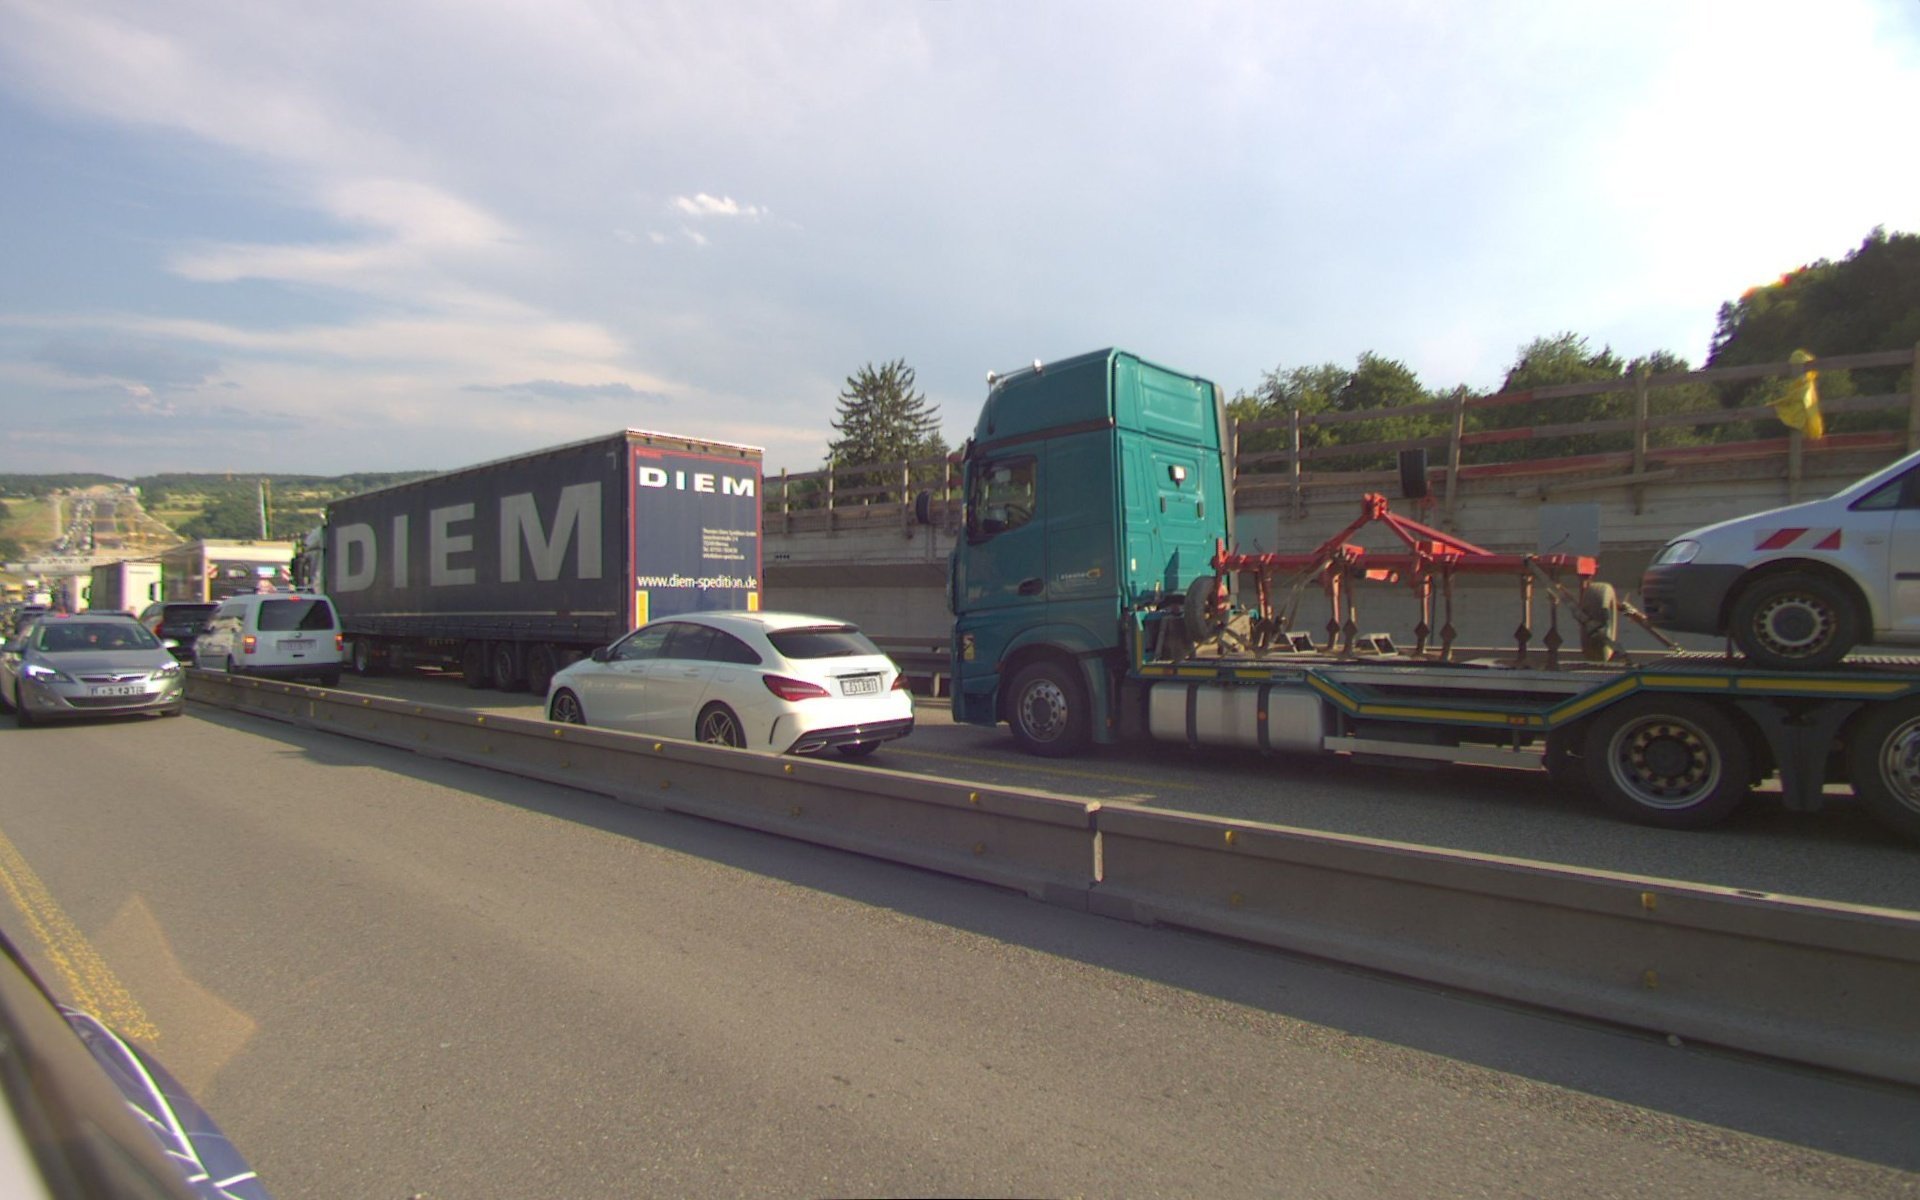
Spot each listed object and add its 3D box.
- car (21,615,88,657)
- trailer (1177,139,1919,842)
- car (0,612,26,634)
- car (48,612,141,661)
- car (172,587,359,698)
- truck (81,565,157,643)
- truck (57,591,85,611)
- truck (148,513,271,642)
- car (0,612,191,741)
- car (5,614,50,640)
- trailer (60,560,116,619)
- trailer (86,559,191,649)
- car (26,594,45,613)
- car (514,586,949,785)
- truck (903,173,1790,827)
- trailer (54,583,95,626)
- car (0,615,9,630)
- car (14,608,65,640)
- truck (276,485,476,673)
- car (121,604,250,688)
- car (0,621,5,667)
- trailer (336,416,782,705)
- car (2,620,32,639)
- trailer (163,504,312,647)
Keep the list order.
[{"bbox_3d":[-41.519,1.615,46.368,4.747,1.598,1.842,1,4,44],"label":"car"},{"bbox_3d":[8.752,-0.610,4.270,16.037,3.845,2.720,-1,-2,41],"label":"trailer"},{"bbox_3d":[-78.415,1.866,83.289,4.977,1.667,1.985,0,2,45],"label":"car"},{"bbox_3d":[-31.424,1.290,36.701,5.367,1.618,1.856,0,-2,42],"label":"car"},{"bbox_3d":[-13.941,0.779,20.181,5.128,1.948,1.804,0,-3,41],"label":"car"},{"bbox_3d":[-48.452,0.211,58.269,6.117,4.235,2.733,0,-1,44],"label":"truck"},{"bbox_3d":[-145.501,0.177,165.663,3.196,3.169,6.495,1,0,-44],"label":"truck"},{"bbox_3d":[-28.503,-0.791,38.387,5.028,4.548,2.888,0,0,43],"label":"truck"},{"bbox_3d":[-12.430,0.947,14.292,4.118,1.498,1.786,0,1,42],"label":"car"},{"bbox_3d":[-59.404,1.696,64.448,4.816,1.467,1.755,1,2,44],"label":"car"},{"bbox_3d":[-69.075,-0.754,80.015,2.427,4.352,13.785,1,0,-44],"label":"trailer"},{"bbox_3d":[-43.851,0.209,53.776,13.838,4.235,2.745,0,0,44],"label":"trailer"},{"bbox_3d":[-137.497,0.541,150.537,1.972,2.636,5.619,1,-1,-43],"label":"car"},{"bbox_3d":[-2.481,0.694,10.102,4.815,1.533,1.784,0,-2,42],"label":"car"},{"bbox_3d":[2.976,-0.538,9.287,7.107,3.834,2.720,-1,-2,41],"label":"truck"},{"bbox_3d":[-88.559,0.457,101.123,2.782,4.136,8.295,1,0,-43],"label":"trailer"},{"bbox_3d":[-100.766,2.342,105.994,1.679,1.588,4.374,1,0,-43],"label":"car"},{"bbox_3d":[-49.608,1.246,54.512,4.480,1.562,1.747,1,2,44],"label":"car"},{"bbox_3d":[-14.477,-0.425,24.987,5.028,4.146,2.720,-1,-2,41],"label":"truck"},{"bbox_3d":[-20.320,1.108,26.474,4.898,1.978,1.813,0,0,42],"label":"car"},{"bbox_3d":[-31.971,1.421,32.359,3.999,1.452,1.799,-1,0,42],"label":"car"},{"bbox_3d":[-8.484,-0.493,19.695,12.487,4.154,2.686,-1,-2,42],"label":"trailer"},{"bbox_3d":[-90.335,2.831,96.913,4.733,1.618,1.859,0,2,45],"label":"car"},{"bbox_3d":[-25.445,-0.771,35.498,7.153,4.499,2.880,0,0,43],"label":"trailer"}]
